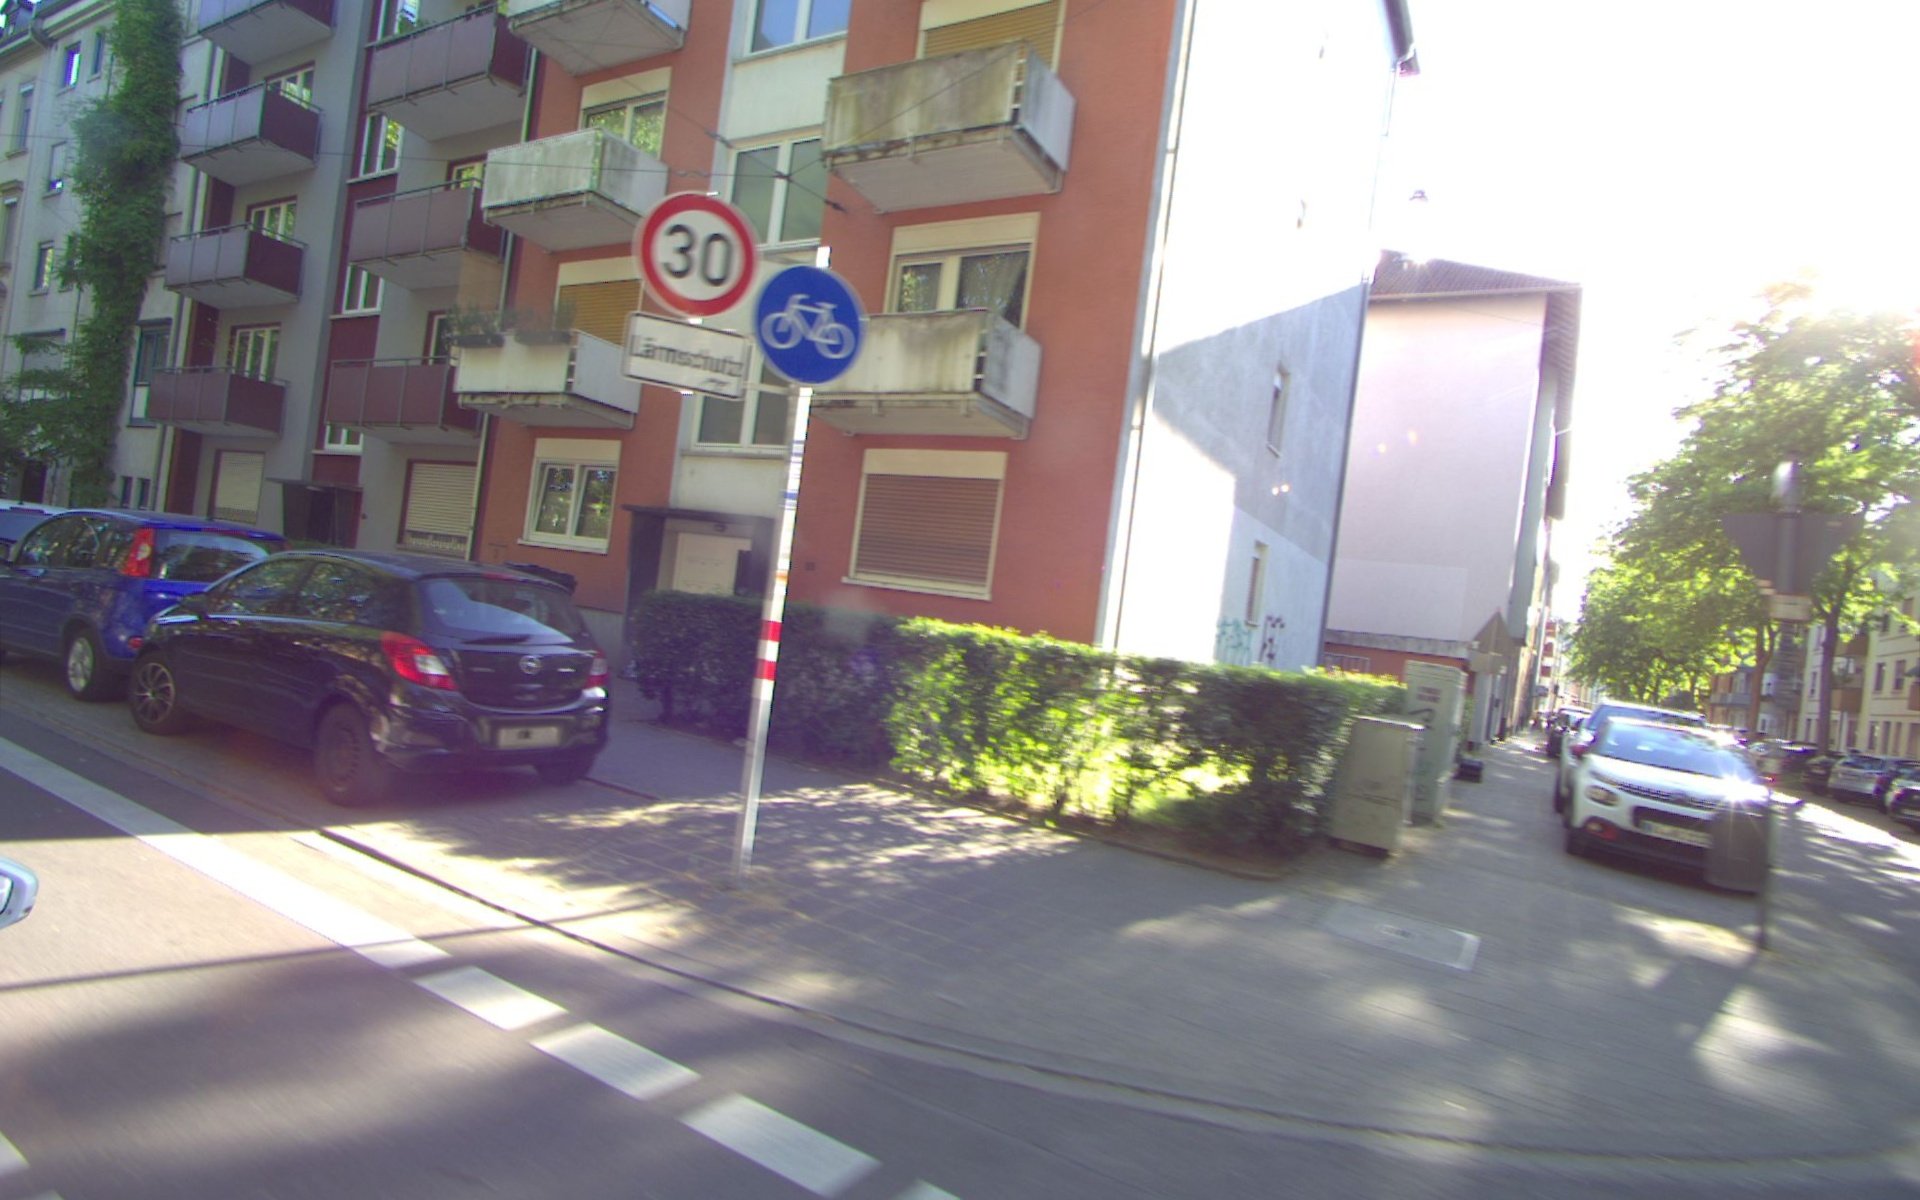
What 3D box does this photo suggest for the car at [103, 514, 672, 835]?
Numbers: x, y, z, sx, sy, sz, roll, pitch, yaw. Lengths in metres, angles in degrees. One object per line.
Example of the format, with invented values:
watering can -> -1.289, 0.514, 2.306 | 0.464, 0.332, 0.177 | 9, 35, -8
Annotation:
car -> -4.097, 0.364, 7.064 | 3.851, 1.480, 1.735 | 7, 1, 31

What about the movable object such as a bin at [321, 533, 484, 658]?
movable object such as a bin -> -7.106, -0.059, 12.814 | 1.693, 1.342, 0.969 | 6, -2, 32

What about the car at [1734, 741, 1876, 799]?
car -> 31.292, 6.268, 37.401 | 3.723, 1.457, 1.663 | 6, -3, 32

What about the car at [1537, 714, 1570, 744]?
car -> 34.969, 7.572, 59.284 | 1.413, 1.506, 3.386 | 7, -2, 33

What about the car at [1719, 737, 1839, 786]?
car -> 35.428, 6.960, 43.633 | 3.723, 1.457, 1.663 | 6, -3, 32

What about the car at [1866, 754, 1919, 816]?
car -> 26.457, 5.091, 26.311 | 3.723, 1.457, 1.663 | 6, -3, 32

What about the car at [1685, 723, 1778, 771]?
car -> 42.016, 7.987, 54.895 | 3.723, 1.936, 1.663 | 6, -2, 32

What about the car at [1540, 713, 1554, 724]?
car -> 88.043, 17.752, 150.836 | 1.505, 1.506, 3.300 | 7, -2, 32

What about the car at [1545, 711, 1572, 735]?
car -> 44.089, 9.047, 74.089 | 1.413, 1.506, 3.386 | 7, -2, 33

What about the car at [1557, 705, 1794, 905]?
car -> 7.645, 2.068, 11.095 | 1.535, 1.500, 3.922 | 10, 0, 30

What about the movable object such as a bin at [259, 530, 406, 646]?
movable object such as a bin -> -8.581, -0.168, 13.751 | 1.654, 1.342, 0.925 | 6, -2, 32

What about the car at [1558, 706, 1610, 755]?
car -> 23.048, 4.794, 37.164 | 1.413, 1.506, 3.386 | 7, -2, 33

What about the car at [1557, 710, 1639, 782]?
car -> 16.719, 3.778, 26.376 | 1.557, 1.506, 3.386 | 7, -2, 33

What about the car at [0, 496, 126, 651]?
car -> -11.167, -0.434, 11.297 | 3.772, 1.546, 1.593 | 6, 0, 32

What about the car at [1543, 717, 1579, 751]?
car -> 31.852, 7.051, 53.266 | 1.413, 1.506, 3.386 | 7, -2, 33

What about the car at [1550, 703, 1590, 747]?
car -> 30.067, 6.132, 49.542 | 1.413, 1.895, 3.386 | 7, -1, 33

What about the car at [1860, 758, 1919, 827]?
car -> 24.002, 4.801, 23.755 | 3.723, 1.457, 1.663 | 6, -3, 32

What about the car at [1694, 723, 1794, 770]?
car -> 39.930, 7.457, 51.351 | 3.723, 1.737, 1.663 | 6, -3, 32

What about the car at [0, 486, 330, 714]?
car -> -7.629, -0.054, 9.143 | 3.688, 1.608, 1.530 | 6, -2, 30

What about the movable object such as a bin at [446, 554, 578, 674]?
movable object such as a bin -> -5.655, 0.197, 12.752 | 0.762, 1.342, 1.155 | 7, -2, 32

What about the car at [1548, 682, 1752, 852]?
car -> 10.314, 2.395, 15.271 | 1.973, 1.814, 4.728 | 10, 0, 33

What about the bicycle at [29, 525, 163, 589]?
bicycle -> -17.082, -0.838, 19.934 | 0.469, 1.042, 1.893 | 7, 0, 36

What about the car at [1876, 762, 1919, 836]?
car -> 21.884, 4.454, 21.004 | 3.723, 1.457, 1.663 | 6, -3, 32
